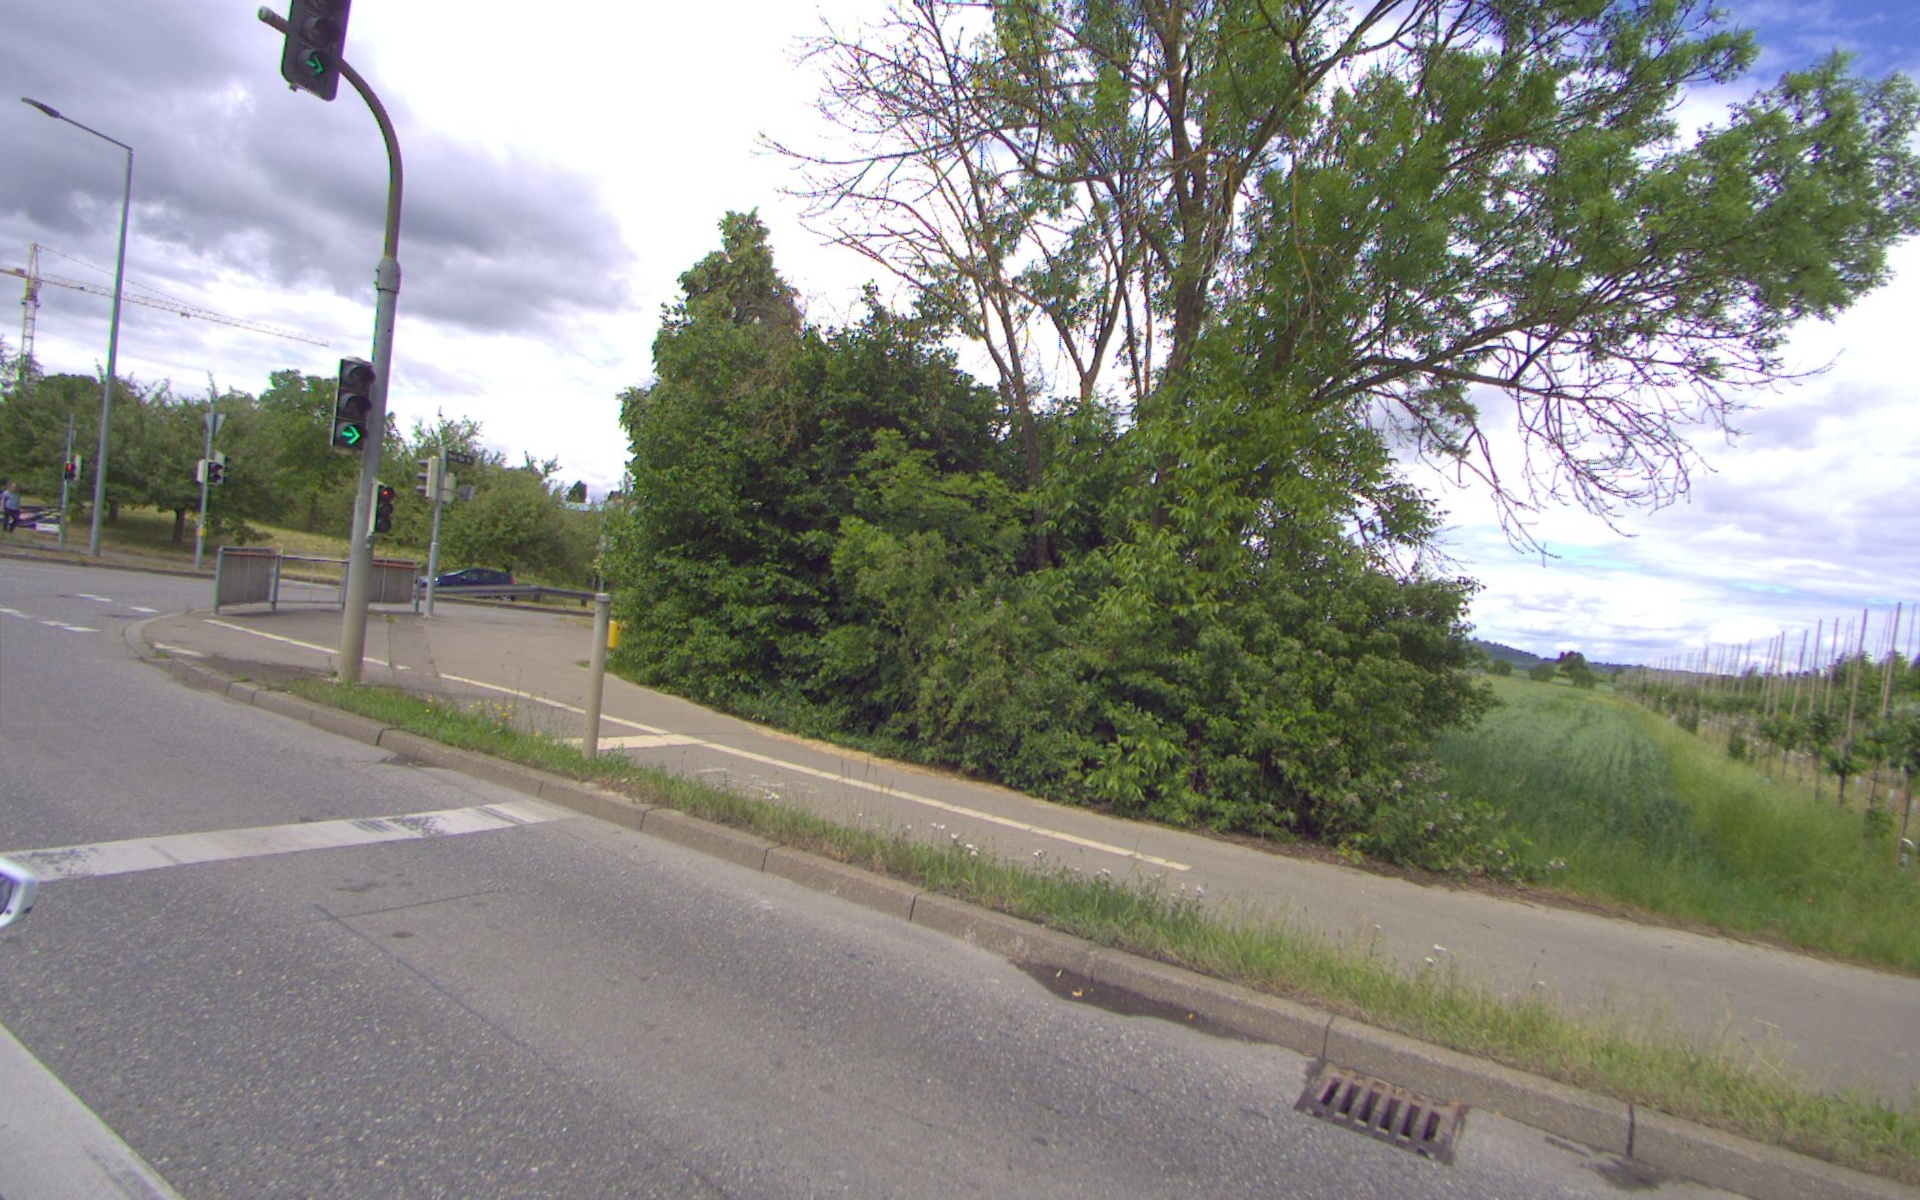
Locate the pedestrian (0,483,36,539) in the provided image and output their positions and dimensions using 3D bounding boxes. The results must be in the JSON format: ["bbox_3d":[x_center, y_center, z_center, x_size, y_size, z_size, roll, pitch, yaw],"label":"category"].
[{"bbox_3d":[-33.365,-3.155,35.307,1.024,1.813,0.721,7,-1,5],"label":"pedestrian"}]

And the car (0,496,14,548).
[{"bbox_3d":[-31.201,-2.701,29.574,4.423,1.583,1.986,10,-2,-28],"label":"car"}]

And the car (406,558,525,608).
[{"bbox_3d":[-20.051,-0.659,40.919,1.733,1.463,3.881,6,-2,37],"label":"car"}]
